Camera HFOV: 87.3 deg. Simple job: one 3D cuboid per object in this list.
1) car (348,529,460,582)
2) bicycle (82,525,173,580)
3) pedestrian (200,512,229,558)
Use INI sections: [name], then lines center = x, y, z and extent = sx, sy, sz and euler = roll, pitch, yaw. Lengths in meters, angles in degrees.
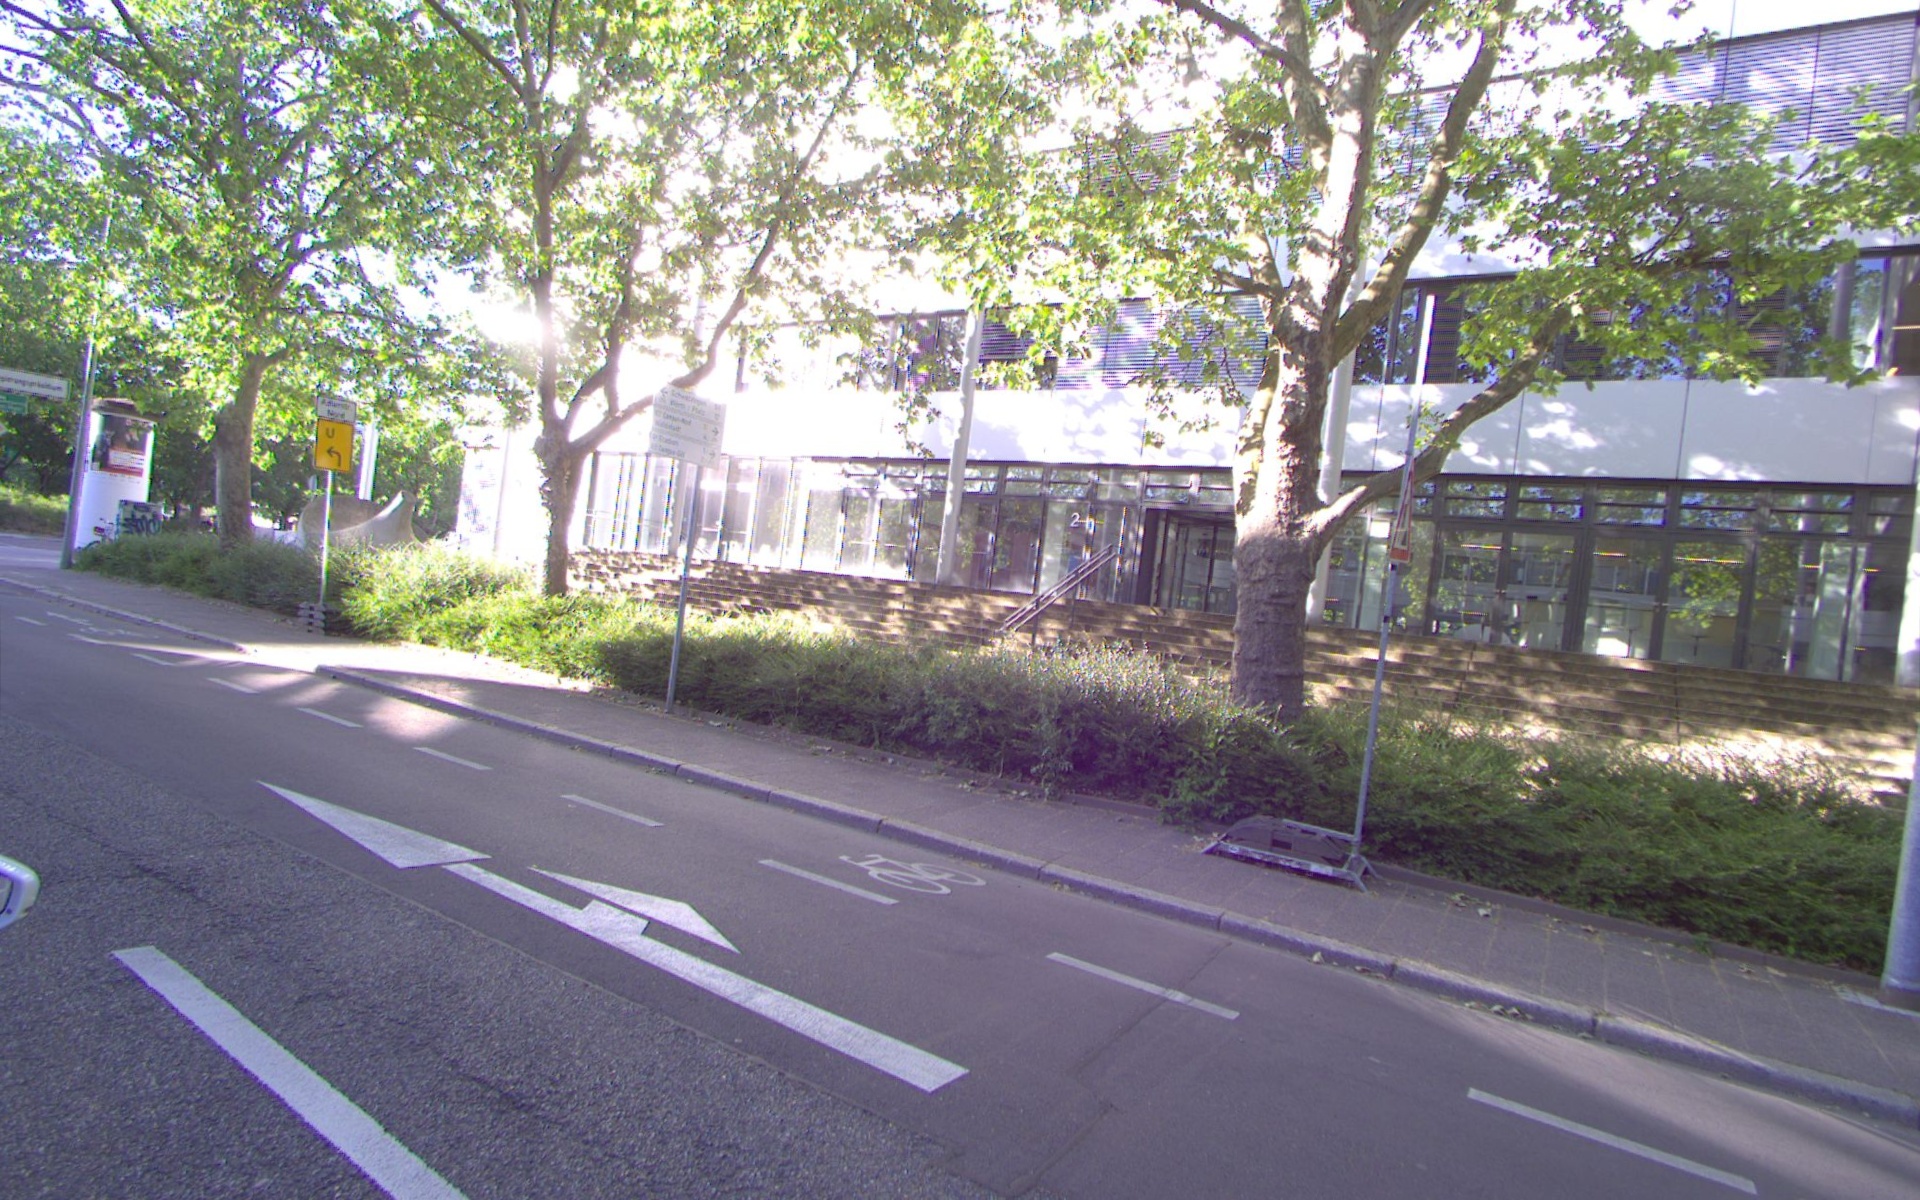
[car]
center = -25.945, -2.055, 47.047
extent = 1.969, 1.805, 3.998
euler = 7, -1, 37
[bicycle]
center = -19.094, -1.086, 23.099
extent = 0.529, 1.049, 1.418
euler = 7, -1, 28
[pedestrian]
center = -31.183, -2.710, 42.079
extent = 0.620, 1.805, 0.620
euler = 7, 0, 34
